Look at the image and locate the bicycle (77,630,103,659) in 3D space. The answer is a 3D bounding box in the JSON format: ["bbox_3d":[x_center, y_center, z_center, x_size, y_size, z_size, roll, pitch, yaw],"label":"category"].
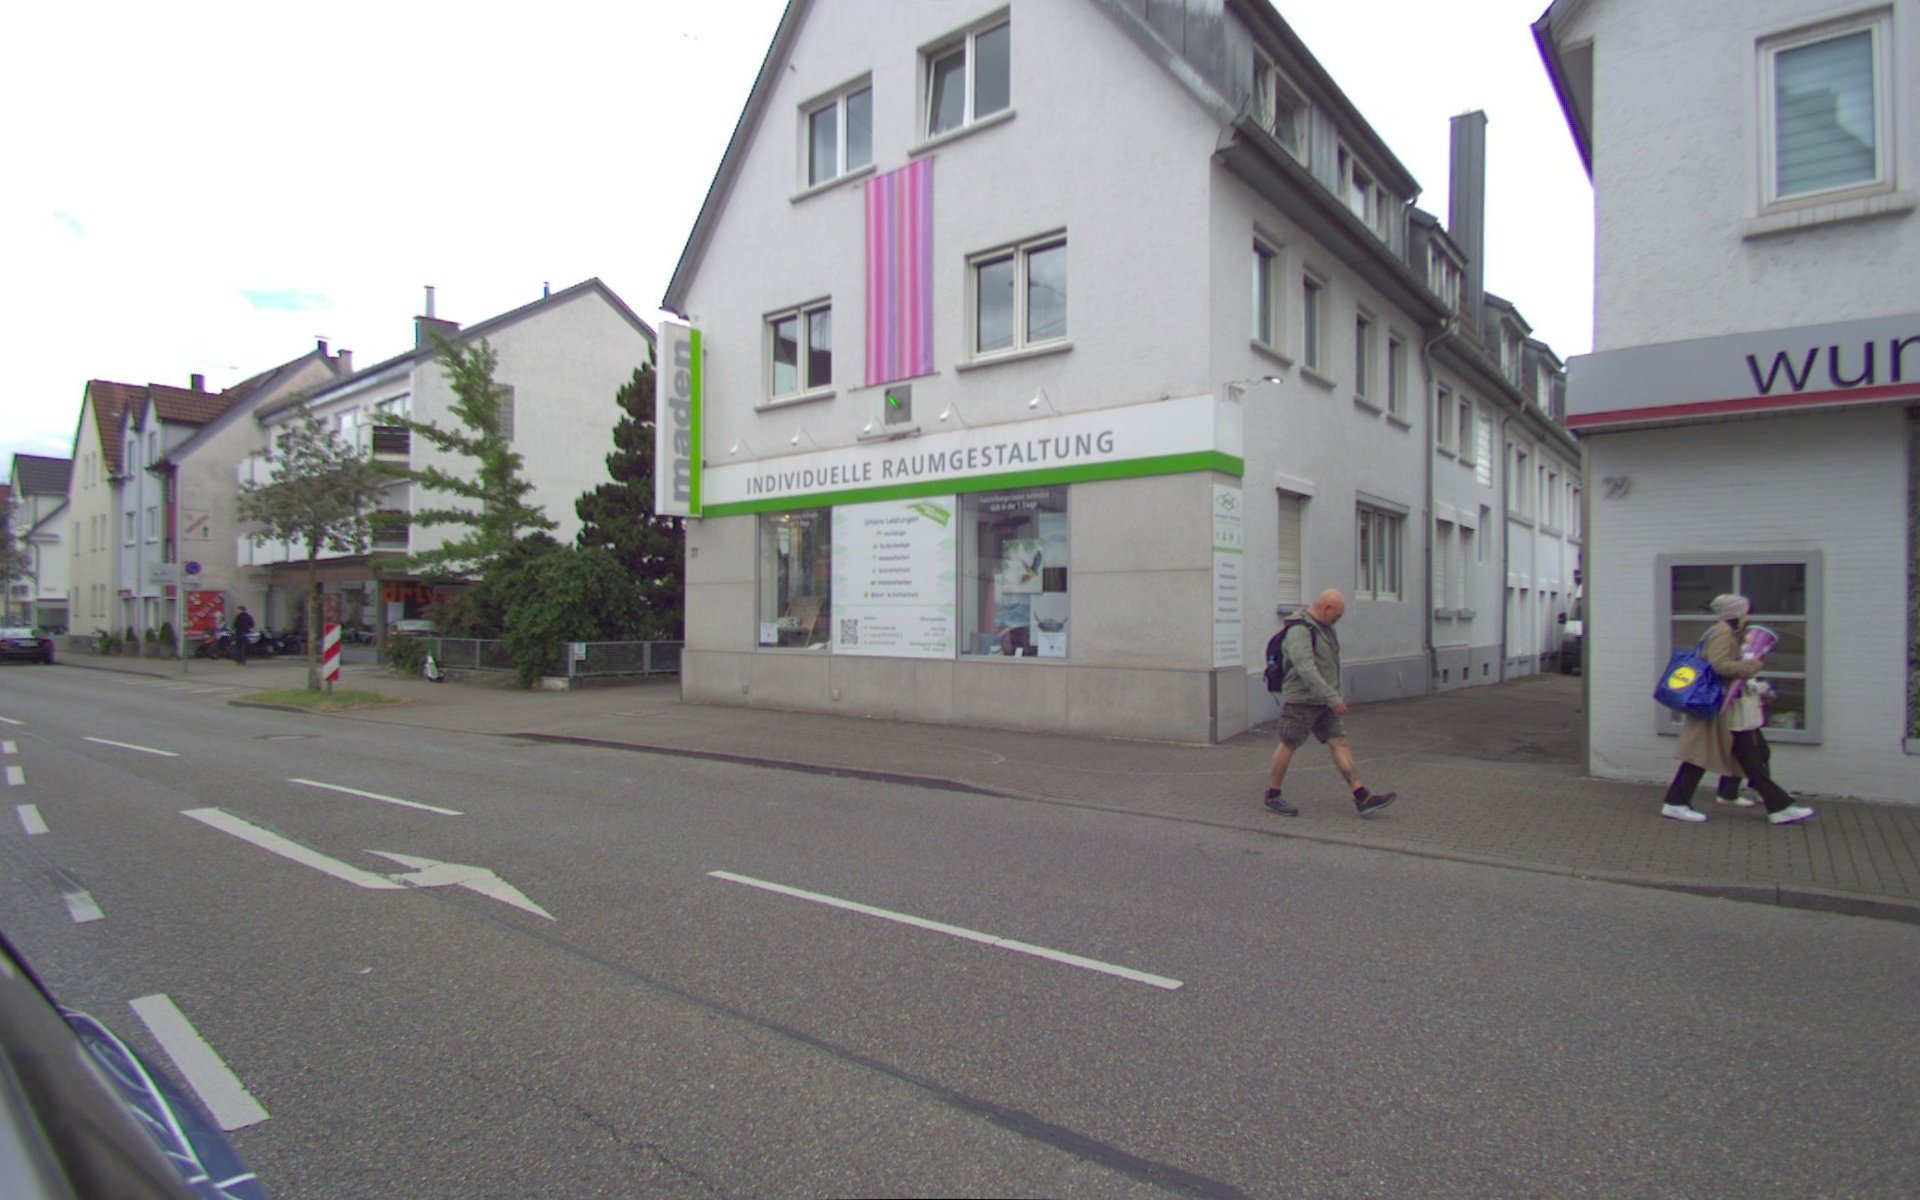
[{"bbox_3d":[-37.673,1.903,43.810,2.022,1.205,0.509,-1,-1,39],"label":"bicycle"}]

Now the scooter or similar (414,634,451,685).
[{"bbox_3d":[-12.006,1.346,23.039,1.179,1.120,0.336,-1,-1,41],"label":"scooter or similar"}]

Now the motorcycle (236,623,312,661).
[{"bbox_3d":[-25.216,1.528,37.213,0.612,1.275,2.204,-1,1,38],"label":"motorcycle"}]

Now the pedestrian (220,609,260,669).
[{"bbox_3d":[-23.151,1.230,32.520,1.019,1.863,0.744,-1,2,40],"label":"pedestrian"}]

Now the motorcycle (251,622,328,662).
[{"bbox_3d":[-23.926,1.490,36.159,0.612,1.275,2.204,-1,1,38],"label":"motorcycle"}]

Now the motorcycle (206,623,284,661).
[{"bbox_3d":[-26.214,1.523,37.162,0.698,1.275,2.204,-1,1,38],"label":"motorcycle"}]

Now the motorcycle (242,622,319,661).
[{"bbox_3d":[-24.613,1.491,36.709,0.612,1.275,2.204,-1,1,38],"label":"motorcycle"}]

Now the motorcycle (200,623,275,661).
[{"bbox_3d":[-27.322,1.563,38.301,0.612,1.275,2.204,-1,1,38],"label":"motorcycle"}]

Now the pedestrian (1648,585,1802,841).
[{"bbox_3d":[5.332,0.730,7.052,0.792,1.629,0.744,-1,2,40],"label":"pedestrian"}]

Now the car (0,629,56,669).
[{"bbox_3d":[-36.145,1.833,38.636,4.337,1.428,1.770,-1,-2,39],"label":"car"}]

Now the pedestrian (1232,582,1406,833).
[{"bbox_3d":[2.747,0.761,7.752,1.019,1.756,0.744,-1,1,40],"label":"pedestrian"}]

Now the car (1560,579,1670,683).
[{"bbox_3d":[18.152,0.748,27.913,1.957,2.527,5.918,2,1,38],"label":"car"}]

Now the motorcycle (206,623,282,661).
[{"bbox_3d":[-26.752,1.552,37.850,0.612,1.275,2.204,-1,1,38],"label":"motorcycle"}]

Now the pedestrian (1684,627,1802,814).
[{"bbox_3d":[5.839,0.861,7.548,0.654,1.289,0.593,-1,0,40],"label":"pedestrian"}]
